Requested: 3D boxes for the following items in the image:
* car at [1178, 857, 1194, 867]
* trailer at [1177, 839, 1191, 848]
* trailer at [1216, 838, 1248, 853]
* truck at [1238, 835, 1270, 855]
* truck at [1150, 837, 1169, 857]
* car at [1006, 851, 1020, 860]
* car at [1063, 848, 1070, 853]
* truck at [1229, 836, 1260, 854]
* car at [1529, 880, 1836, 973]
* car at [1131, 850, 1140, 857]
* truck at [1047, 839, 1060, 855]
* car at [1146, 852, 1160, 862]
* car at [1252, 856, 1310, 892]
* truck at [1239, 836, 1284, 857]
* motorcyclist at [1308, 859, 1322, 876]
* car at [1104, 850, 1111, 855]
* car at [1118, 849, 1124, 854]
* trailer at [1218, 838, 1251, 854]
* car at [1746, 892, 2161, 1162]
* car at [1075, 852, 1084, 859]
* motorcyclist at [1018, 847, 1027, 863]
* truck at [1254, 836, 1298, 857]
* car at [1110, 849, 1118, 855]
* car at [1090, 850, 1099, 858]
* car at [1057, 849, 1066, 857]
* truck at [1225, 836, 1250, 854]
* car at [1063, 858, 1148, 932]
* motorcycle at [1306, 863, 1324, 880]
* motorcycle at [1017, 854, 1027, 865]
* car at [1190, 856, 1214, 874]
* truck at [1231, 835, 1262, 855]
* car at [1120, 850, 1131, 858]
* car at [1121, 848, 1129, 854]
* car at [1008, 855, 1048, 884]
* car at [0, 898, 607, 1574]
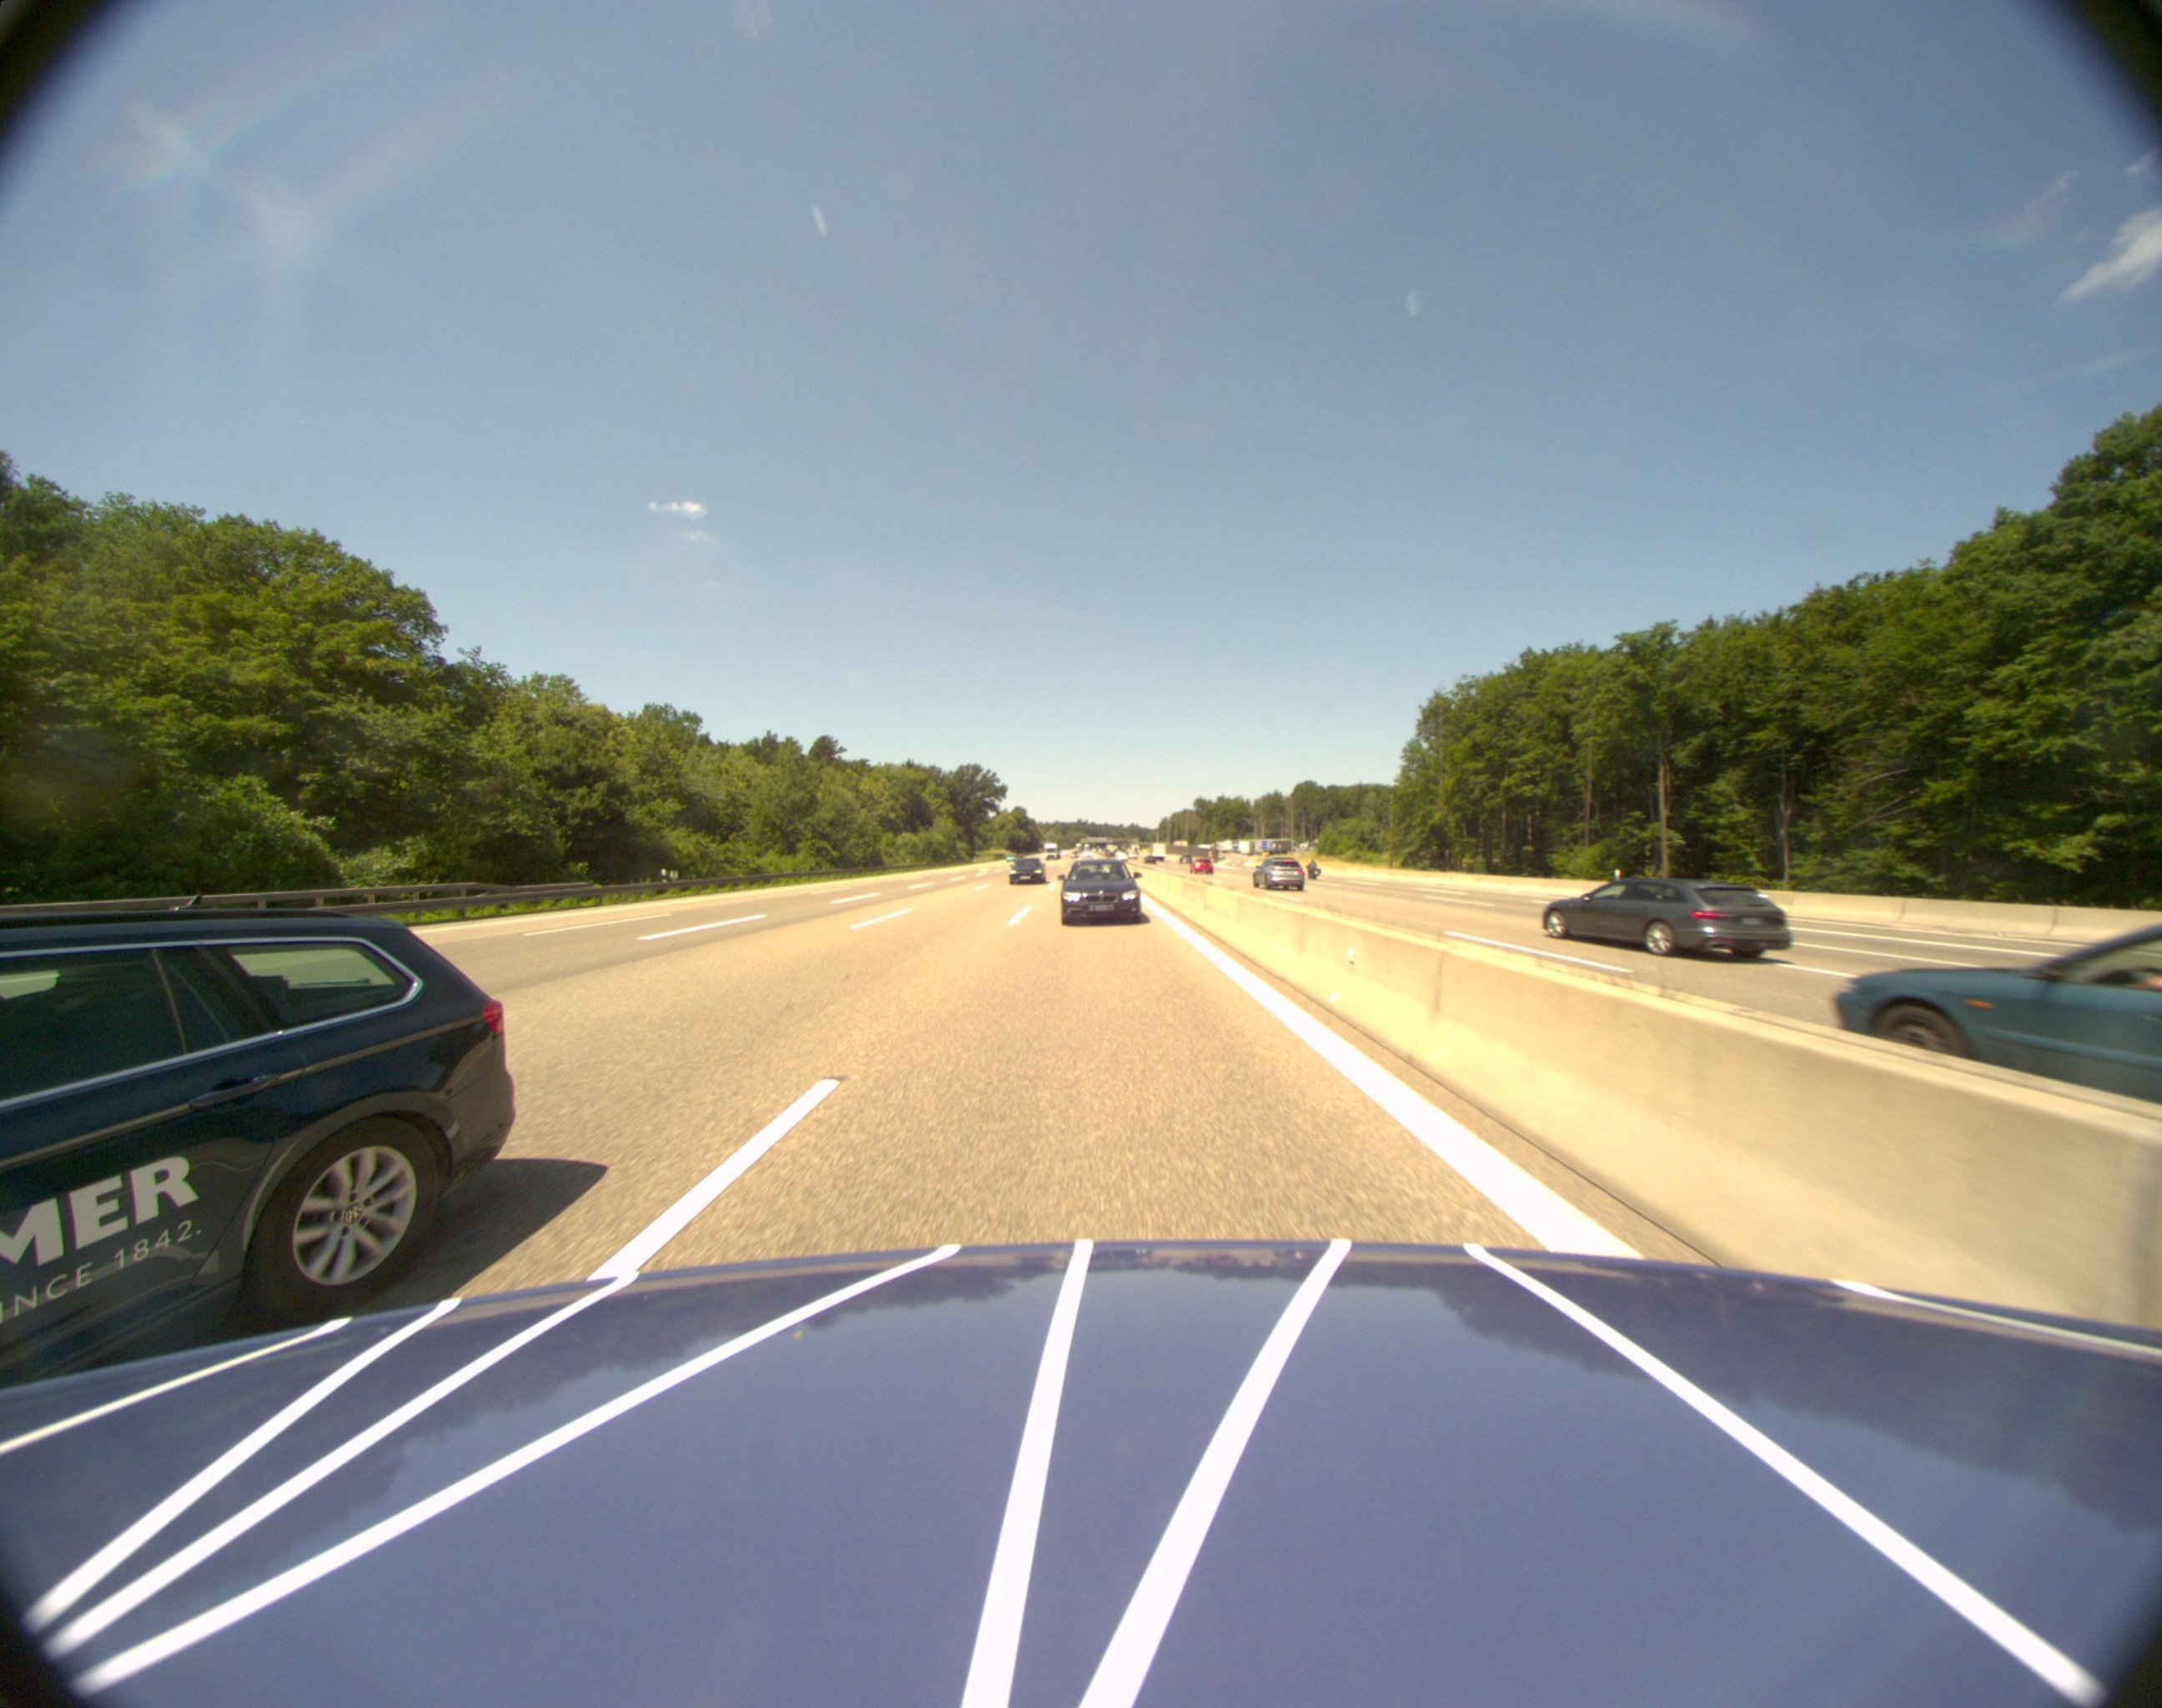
[{"bbox_3d":[18.100,1.323,131.218,2.052,1.665,5.188,1,0,1],"label":"car"},{"bbox_3d":[34.750,-3.475,257.610,2.979,3.106,14.607,0,1,1],"label":"trailer"},{"bbox_3d":[52.228,-2.865,262.933,14.597,5.043,3.120,-1,1,-44],"label":"trailer"},{"bbox_3d":[50.546,-2.581,222.153,11.562,5.580,3.358,-1,1,-45],"label":"truck"},{"bbox_3d":[15.775,-1.375,153.191,2.865,3.990,9.467,0,1,1],"label":"truck"},{"bbox_3d":[-12.830,0.258,143.012,1.998,1.671,4.127,1,1,2],"label":"car"},{"bbox_3d":[-4.333,-1.012,231.778,1.874,1.560,4.127,0,0,2],"label":"car"},{"bbox_3d":[49.780,-2.718,231.131,11.562,5.580,3.219,-1,1,-45],"label":"truck"},{"bbox_3d":[11.394,1.277,15.030,1.927,1.341,5.043,0,0,-3],"label":"car"},{"bbox_3d":[12.503,-0.174,174.642,1.917,1.651,4.688,1,0,0],"label":"car"},{"bbox_3d":[-5.601,-1.493,156.518,2.429,3.237,8.688,1,1,0],"label":"truck"},{"bbox_3d":[11.511,0.475,121.473,1.706,1.419,4.613,1,0,0],"label":"car"},{"bbox_3d":[10.342,0.987,39.647,1.975,1.714,4.509,-1,0,2],"label":"car"},{"bbox_3d":[49.062,-2.111,205.965,16.745,5.580,3.440,-1,1,-44],"label":"truck"},{"bbox_3d":[18.089,1.049,58.697,0.762,1.294,1.077,1,2,1],"label":"motorcyclist"},{"bbox_3d":[8.217,-0.433,235.233,1.917,1.456,4.586,0,1,0],"label":"car"},{"bbox_3d":[12.850,-0.868,242.433,1.765,1.455,4.839,0,1,0],"label":"car"},{"bbox_3d":[50.951,-2.720,251.703,14.597,5.043,3.214,-1,1,-44],"label":"trailer"},{"bbox_3d":[7.238,1.133,5.006,1.757,1.369,4.490,2,2,1],"label":"car"},{"bbox_3d":[-0.280,0.391,184.067,1.998,1.671,4.127,1,1,2],"label":"car"},{"bbox_3d":[-6.873,0.127,89.073,0.914,1.926,0.905,0,1,0],"label":"motorcyclist"},{"bbox_3d":[52.487,-2.049,204.278,16.745,5.580,3.214,-1,1,-44],"label":"truck"},{"bbox_3d":[8.659,-0.641,200.868,1.917,1.456,4.362,0,1,0],"label":"car"},{"bbox_3d":[3.322,0.078,187.719,1.998,1.935,4.128,0,0,2],"label":"car"},{"bbox_3d":[-4.599,-0.250,179.126,1.998,1.671,4.127,1,1,2],"label":"car"},{"bbox_3d":[48.325,-2.775,234.501,8.506,5.580,3.219,-1,1,-45],"label":"truck"},{"bbox_3d":[0.579,0.864,18.141,1.741,1.450,4.542,-2,0,2],"label":"car"},{"bbox_3d":[18.106,1.317,58.843,0.740,1.207,2.349,1,1,1],"label":"motorcycle"},{"bbox_3d":[-6.885,0.649,89.126,0.925,1.311,2.997,0,1,1],"label":"motorcycle"},{"bbox_3d":[11.198,0.988,70.432,1.576,1.503,4.030,1,0,1],"label":"car"},{"bbox_3d":[49.284,-2.645,225.630,11.562,5.580,3.219,-1,1,-45],"label":"truck"},{"bbox_3d":[8.449,0.008,144.039,1.829,1.386,4.464,0,0,-1],"label":"car"},{"bbox_3d":[12.170,-0.865,208.265,1.917,1.503,5.231,1,0,0],"label":"car"},{"bbox_3d":[-2.829,0.805,41.258,1.834,1.454,4.203,1,1,1],"label":"car"},{"bbox_3d":[-3.401,0.971,1.477,1.734,1.439,4.961,-1,0,1],"label":"car"}]
